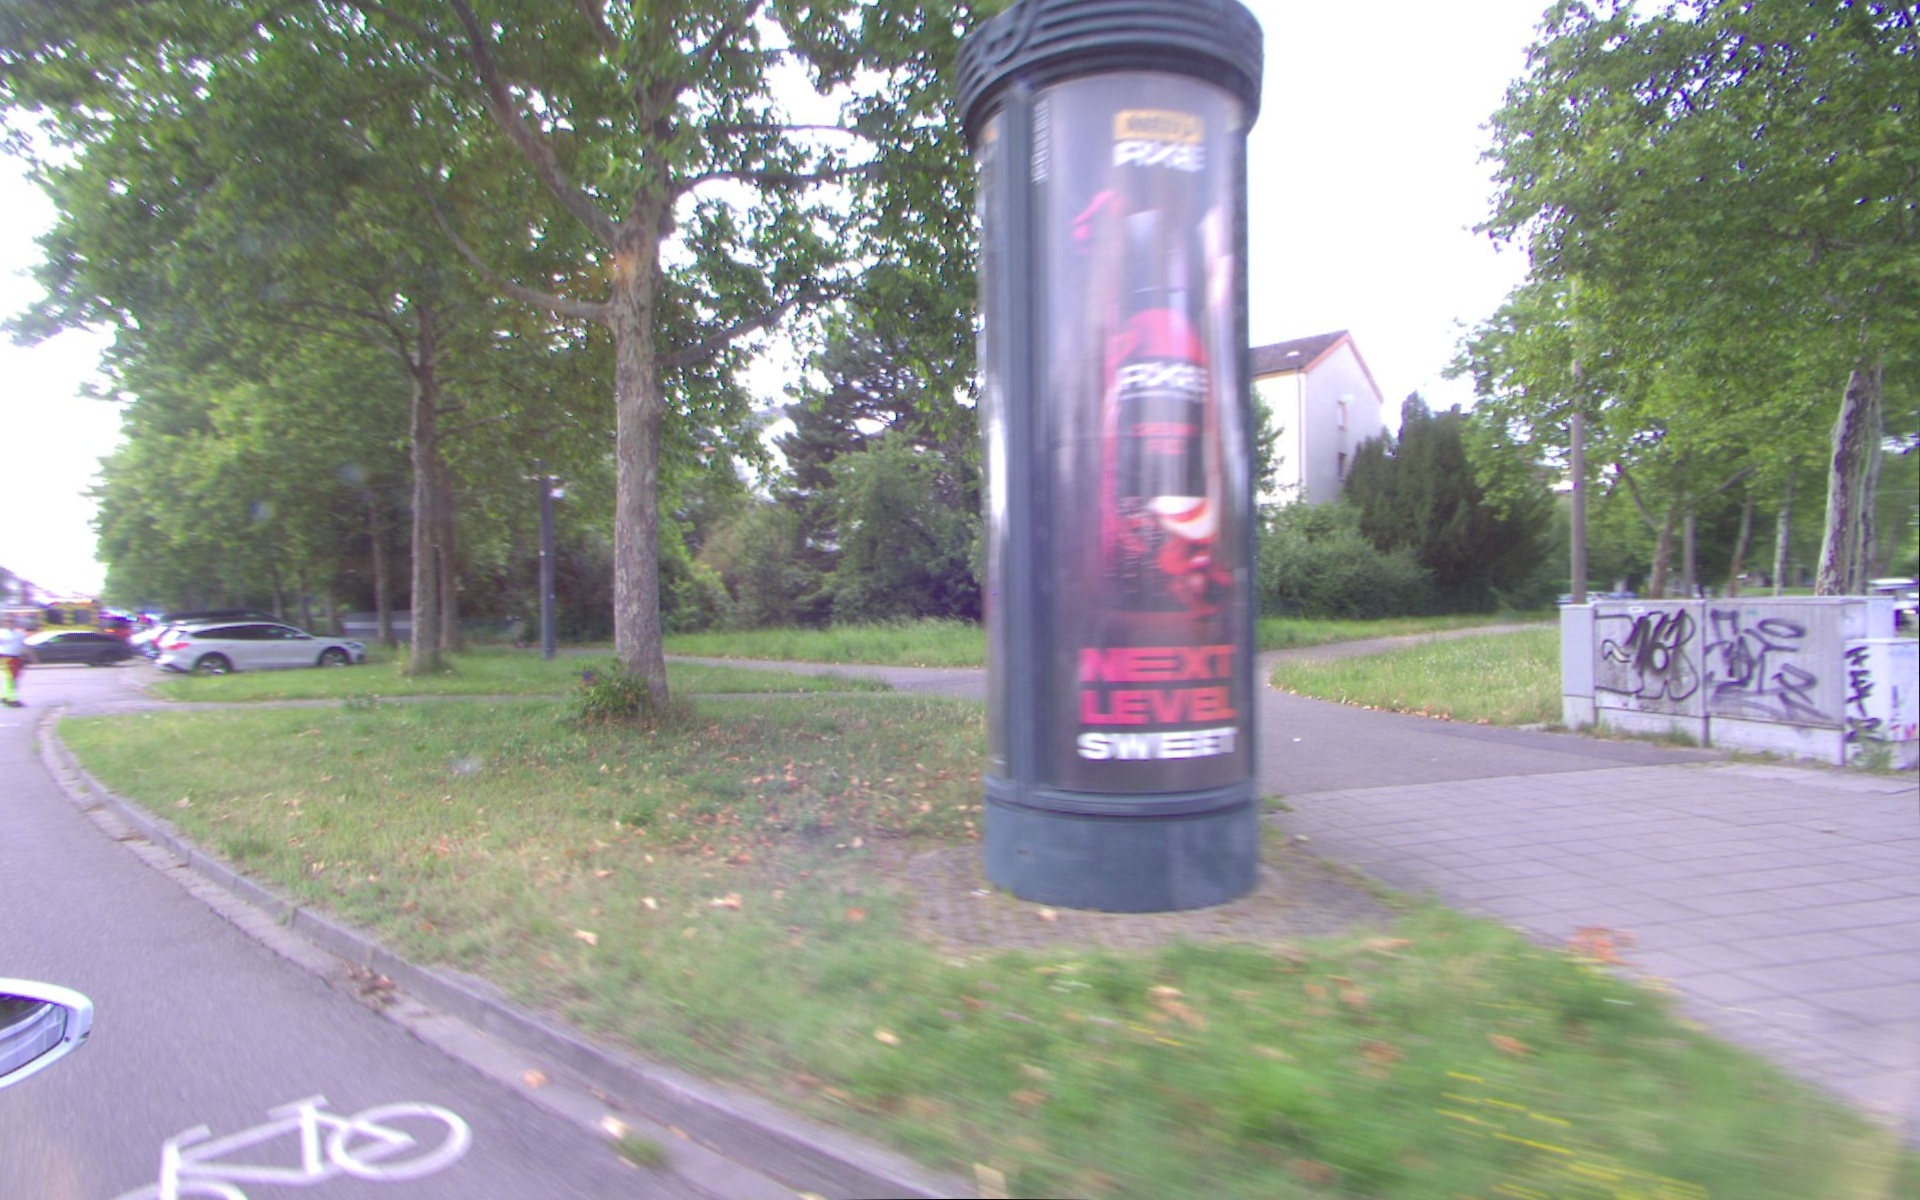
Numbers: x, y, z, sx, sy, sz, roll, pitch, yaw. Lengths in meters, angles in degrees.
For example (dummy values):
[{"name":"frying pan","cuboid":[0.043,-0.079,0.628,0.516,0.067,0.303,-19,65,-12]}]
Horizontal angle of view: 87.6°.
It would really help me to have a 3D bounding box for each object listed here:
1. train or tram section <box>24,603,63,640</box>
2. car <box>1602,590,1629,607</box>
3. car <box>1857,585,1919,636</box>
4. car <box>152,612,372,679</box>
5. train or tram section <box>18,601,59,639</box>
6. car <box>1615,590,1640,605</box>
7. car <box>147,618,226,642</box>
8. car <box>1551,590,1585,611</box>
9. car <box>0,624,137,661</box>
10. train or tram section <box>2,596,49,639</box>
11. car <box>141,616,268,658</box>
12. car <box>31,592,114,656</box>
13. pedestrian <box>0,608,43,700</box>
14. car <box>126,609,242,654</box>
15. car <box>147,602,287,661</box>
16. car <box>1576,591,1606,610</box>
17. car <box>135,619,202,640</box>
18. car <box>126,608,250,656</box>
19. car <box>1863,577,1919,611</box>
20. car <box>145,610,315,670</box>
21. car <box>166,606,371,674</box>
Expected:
[{"name":"train or tram section","cuboid":[-98.210,2.340,107.362,2.491,3.631,7.385,-3,0,-40]},{"name":"car","cuboid":[59.489,-0.134,90.850,1.659,1.409,3.281,-1,0,39]},{"name":"car","cuboid":[31.247,0.289,32.570,1.969,1.533,4.667,-2,0,28]},{"name":"car","cuboid":[-18.819,1.169,27.142,4.625,1.493,1.830,-2,1,-44]},{"name":"train or tram section","cuboid":[-93.558,2.093,101.706,2.491,3.631,7.385,-3,0,-40]},{"name":"car","cuboid":[64.642,-0.231,96.931,1.659,1.409,3.281,-1,0,39]},{"name":"car","cuboid":[-58.230,2.241,75.388,4.514,1.630,1.838,-2,1,-44]},{"name":"car","cuboid":[43.568,0.020,71.772,1.659,1.409,3.281,-1,0,39]},{"name":"car","cuboid":[-36.059,1.686,40.171,1.743,1.403,4.441,-1,-2,35]},{"name":"train or tram section","cuboid":[-84.171,1.596,90.327,2.491,3.631,7.385,-3,0,-40]},{"name":"car","cuboid":[-35.047,1.681,46.532,4.515,1.682,1.838,-2,1,-44]},{"name":"car","cuboid":[-44.562,1.235,50.420,2.620,3.004,6.252,2,-3,-38]},{"name":"pedestrian","cuboid":[-18.137,1.019,19.165,0.797,1.708,0.844,-1,0,-40]},{"name":"car","cuboid":[-39.960,1.574,51.643,4.514,2.071,1.838,-2,1,-44]},{"name":"car","cuboid":[-30.873,1.268,41.695,4.509,2.152,1.840,-2,1,-40]},{"name":"car","cuboid":[49.587,0.024,78.659,1.659,1.409,3.281,-1,0,39]},{"name":"car","cuboid":[-70.167,2.570,88.785,4.514,1.630,1.838,-2,1,-44]},{"name":"car","cuboid":[-37.045,1.498,48.142,4.514,2.027,1.838,-2,1,-44]},{"name":"car","cuboid":[50.310,-0.345,53.783,1.971,1.728,3.979,-1,0,32]},{"name":"car","cuboid":[-23.749,1.262,32.703,4.342,1.661,1.743,-2,1,-38]},{"name":"car","cuboid":[-19.979,1.101,29.076,4.625,1.648,1.830,-2,1,-44]}]
